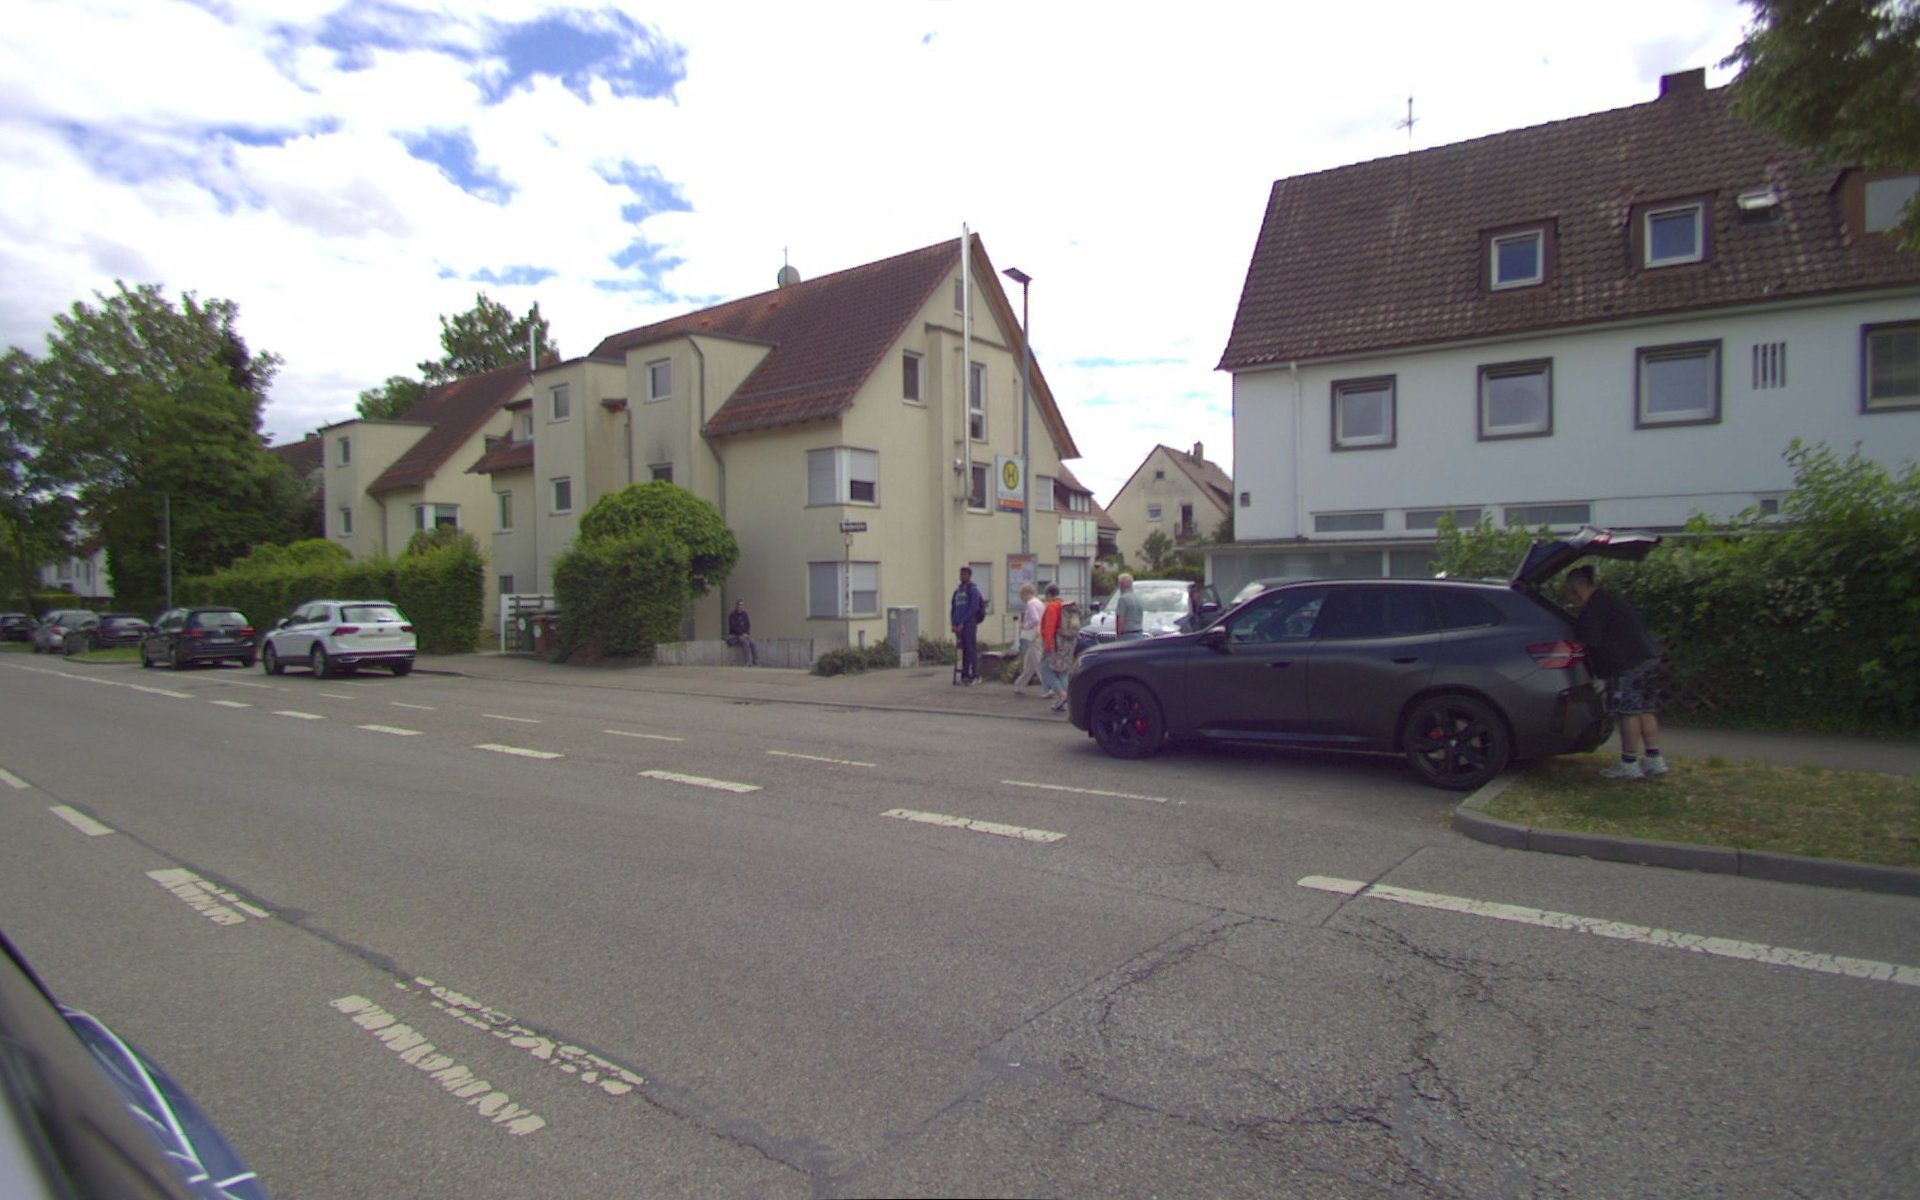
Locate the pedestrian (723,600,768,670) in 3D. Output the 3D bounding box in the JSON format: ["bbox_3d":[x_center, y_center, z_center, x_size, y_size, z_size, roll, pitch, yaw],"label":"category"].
[{"bbox_3d":[-4.920,0.785,23.231,0.836,1.572,0.663,-1,-1,45],"label":"pedestrian"}]

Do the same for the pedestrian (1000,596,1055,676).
[{"bbox_3d":[1.136,0.598,17.080,0.705,1.323,0.582,-1,0,40],"label":"pedestrian"}]

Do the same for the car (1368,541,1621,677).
[{"bbox_3d":[7.912,0.142,14.855,3.937,1.704,1.872,-1,-3,-41],"label":"car"}]

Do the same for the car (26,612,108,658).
[{"bbox_3d":[-33.738,1.282,38.208,3.906,1.625,1.701,-1,-1,39],"label":"car"}]

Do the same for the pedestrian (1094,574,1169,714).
[{"bbox_3d":[2.172,0.529,12.769,0.591,1.675,0.779,-1,3,38],"label":"pedestrian"}]

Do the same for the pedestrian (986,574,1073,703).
[{"bbox_3d":[0.965,0.508,13.967,0.879,1.675,0.781,-1,3,32],"label":"pedestrian"}]

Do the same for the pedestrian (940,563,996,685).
[{"bbox_3d":[0.125,0.360,15.518,0.671,1.820,0.499,-1,0,39],"label":"pedestrian"}]

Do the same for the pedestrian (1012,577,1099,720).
[{"bbox_3d":[1.199,0.583,12.661,0.752,1.675,0.781,-1,3,32],"label":"pedestrian"}]

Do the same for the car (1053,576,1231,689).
[{"bbox_3d":[3.158,0.419,16.732,2.023,1.565,4.494,-1,1,22],"label":"car"}]

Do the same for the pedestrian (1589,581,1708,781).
[{"bbox_3d":[5.225,0.590,7.693,0.545,1.447,0.497,-1,-1,-20],"label":"pedestrian"}]

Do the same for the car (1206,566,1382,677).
[{"bbox_3d":[5.576,0.276,16.575,1.786,1.493,3.956,-1,2,33],"label":"car"}]

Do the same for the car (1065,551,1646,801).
[{"bbox_3d":[3.354,0.544,9.075,4.556,1.738,1.708,-1,0,37],"label":"car"}]

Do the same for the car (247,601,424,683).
[{"bbox_3d":[-13.947,0.875,22.499,4.578,1.646,1.804,-1,-1,37],"label":"car"}]

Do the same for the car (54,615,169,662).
[{"bbox_3d":[-29.233,1.276,34.826,4.882,1.496,1.975,-1,-1,37],"label":"car"}]

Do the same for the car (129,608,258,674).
[{"bbox_3d":[-19.957,1.018,26.290,4.266,1.563,1.661,-1,0,38],"label":"car"}]

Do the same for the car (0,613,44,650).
[{"bbox_3d":[-44.530,1.470,47.036,5.031,1.659,2.075,-1,-1,38],"label":"car"}]
